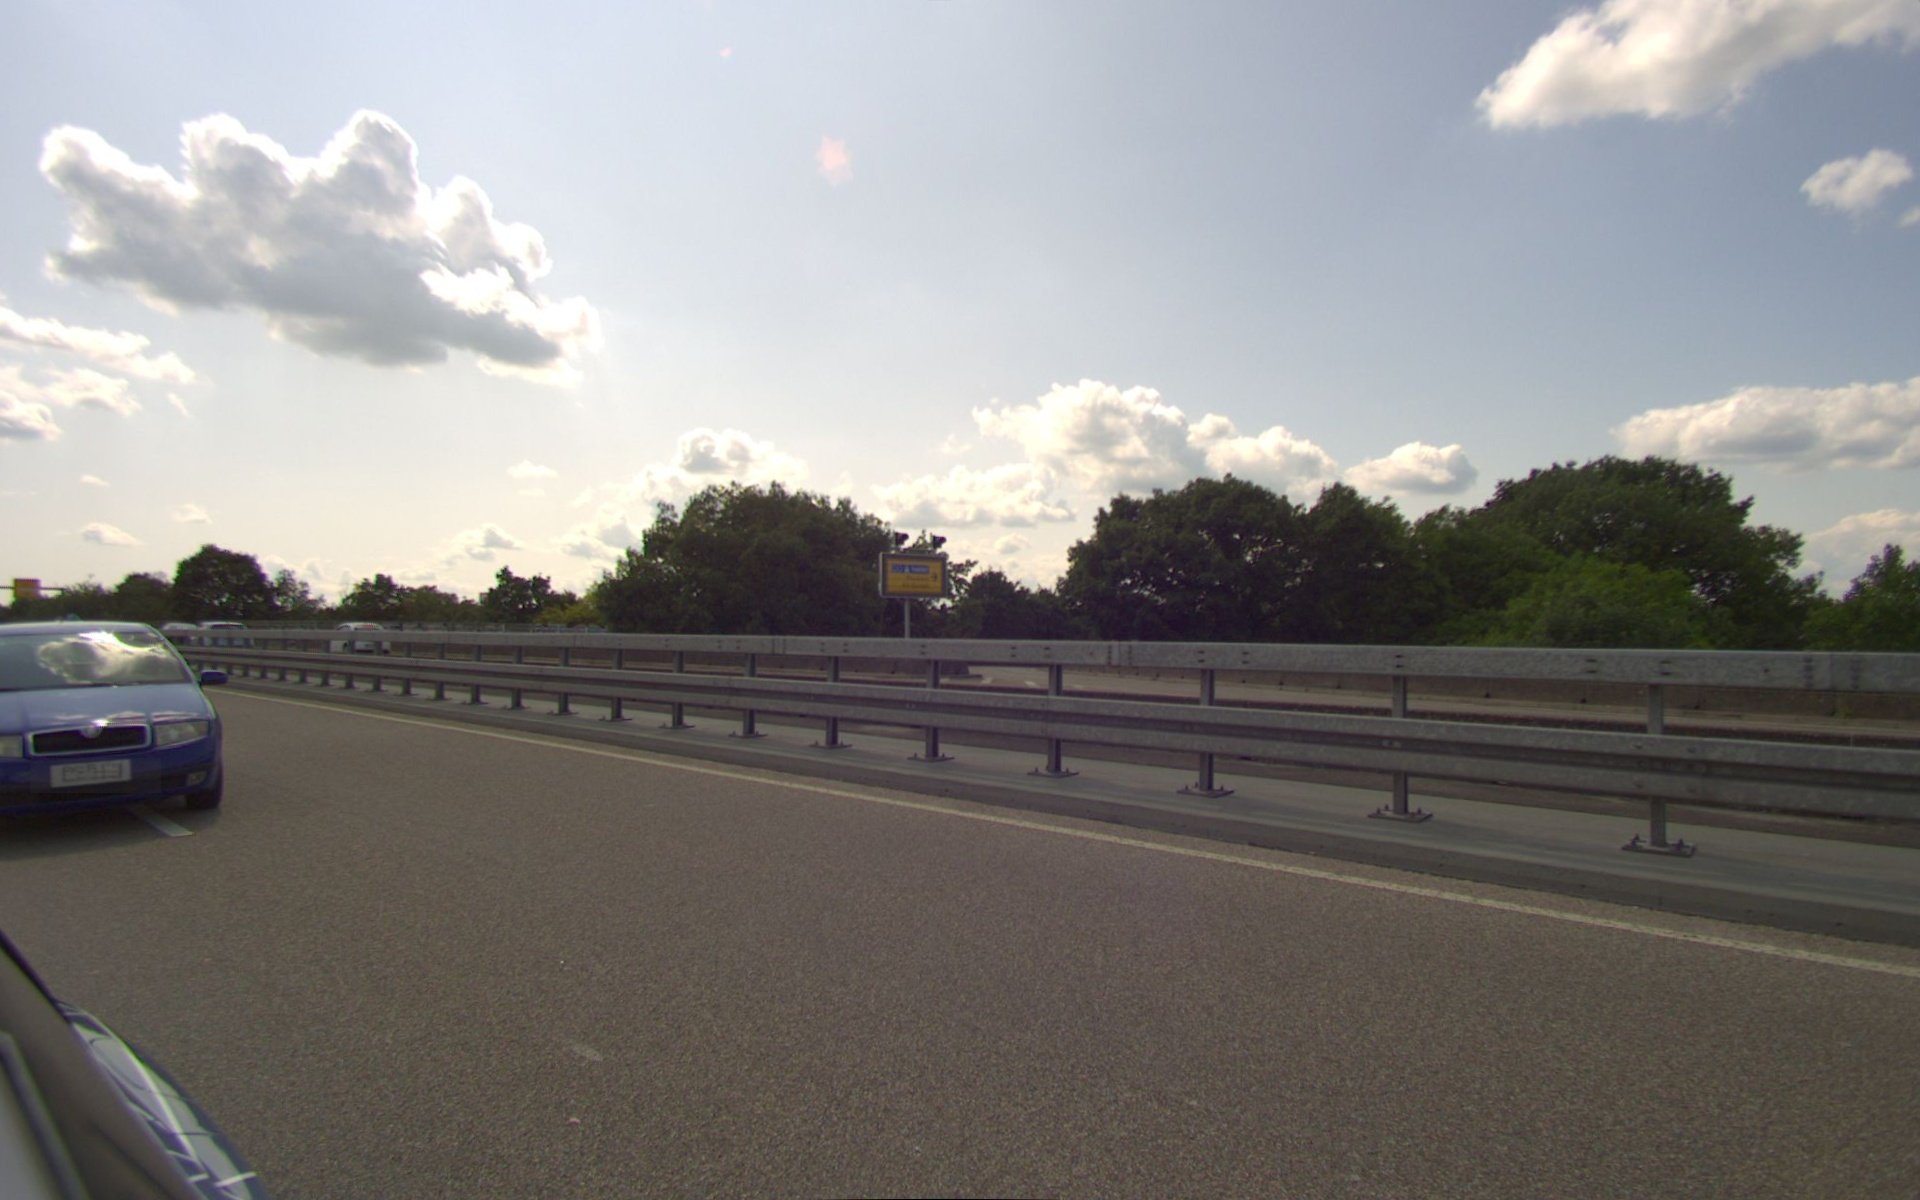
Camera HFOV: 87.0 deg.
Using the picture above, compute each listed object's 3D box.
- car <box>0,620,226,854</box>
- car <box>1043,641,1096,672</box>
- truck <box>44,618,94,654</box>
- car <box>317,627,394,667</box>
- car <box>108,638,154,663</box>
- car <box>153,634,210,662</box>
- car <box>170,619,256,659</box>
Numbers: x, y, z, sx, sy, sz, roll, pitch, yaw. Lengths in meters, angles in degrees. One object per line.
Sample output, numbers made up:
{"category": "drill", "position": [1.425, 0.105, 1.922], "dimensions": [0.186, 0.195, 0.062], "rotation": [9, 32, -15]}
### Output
{"category": "car", "position": [-7.031, 0.897, 7.878], "dimensions": [1.602, 1.422, 3.774], "rotation": [-1, -1, -44]}
{"category": "car", "position": [7.945, 4.035, 72.992], "dimensions": [1.991, 1.912, 5.119], "rotation": [-2, 0, 28]}
{"category": "truck", "position": [-57.319, 2.298, 65.051], "dimensions": [5.187, 2.203, 1.853], "rotation": [-2, -1, 42]}
{"category": "car", "position": [-26.150, 2.018, 43.733], "dimensions": [3.953, 1.593, 1.810], "rotation": [-2, -1, 42]}
{"category": "car", "position": [-57.955, 3.499, 70.730], "dimensions": [3.997, 1.651, 1.803], "rotation": [-2, -1, 41]}
{"category": "car", "position": [-49.360, 3.011, 64.139], "dimensions": [4.507, 1.652, 1.872], "rotation": [-2, -1, 39]}
{"category": "car", "position": [-31.351, 1.624, 42.424], "dimensions": [4.238, 1.540, 1.883], "rotation": [-2, -1, 39]}
